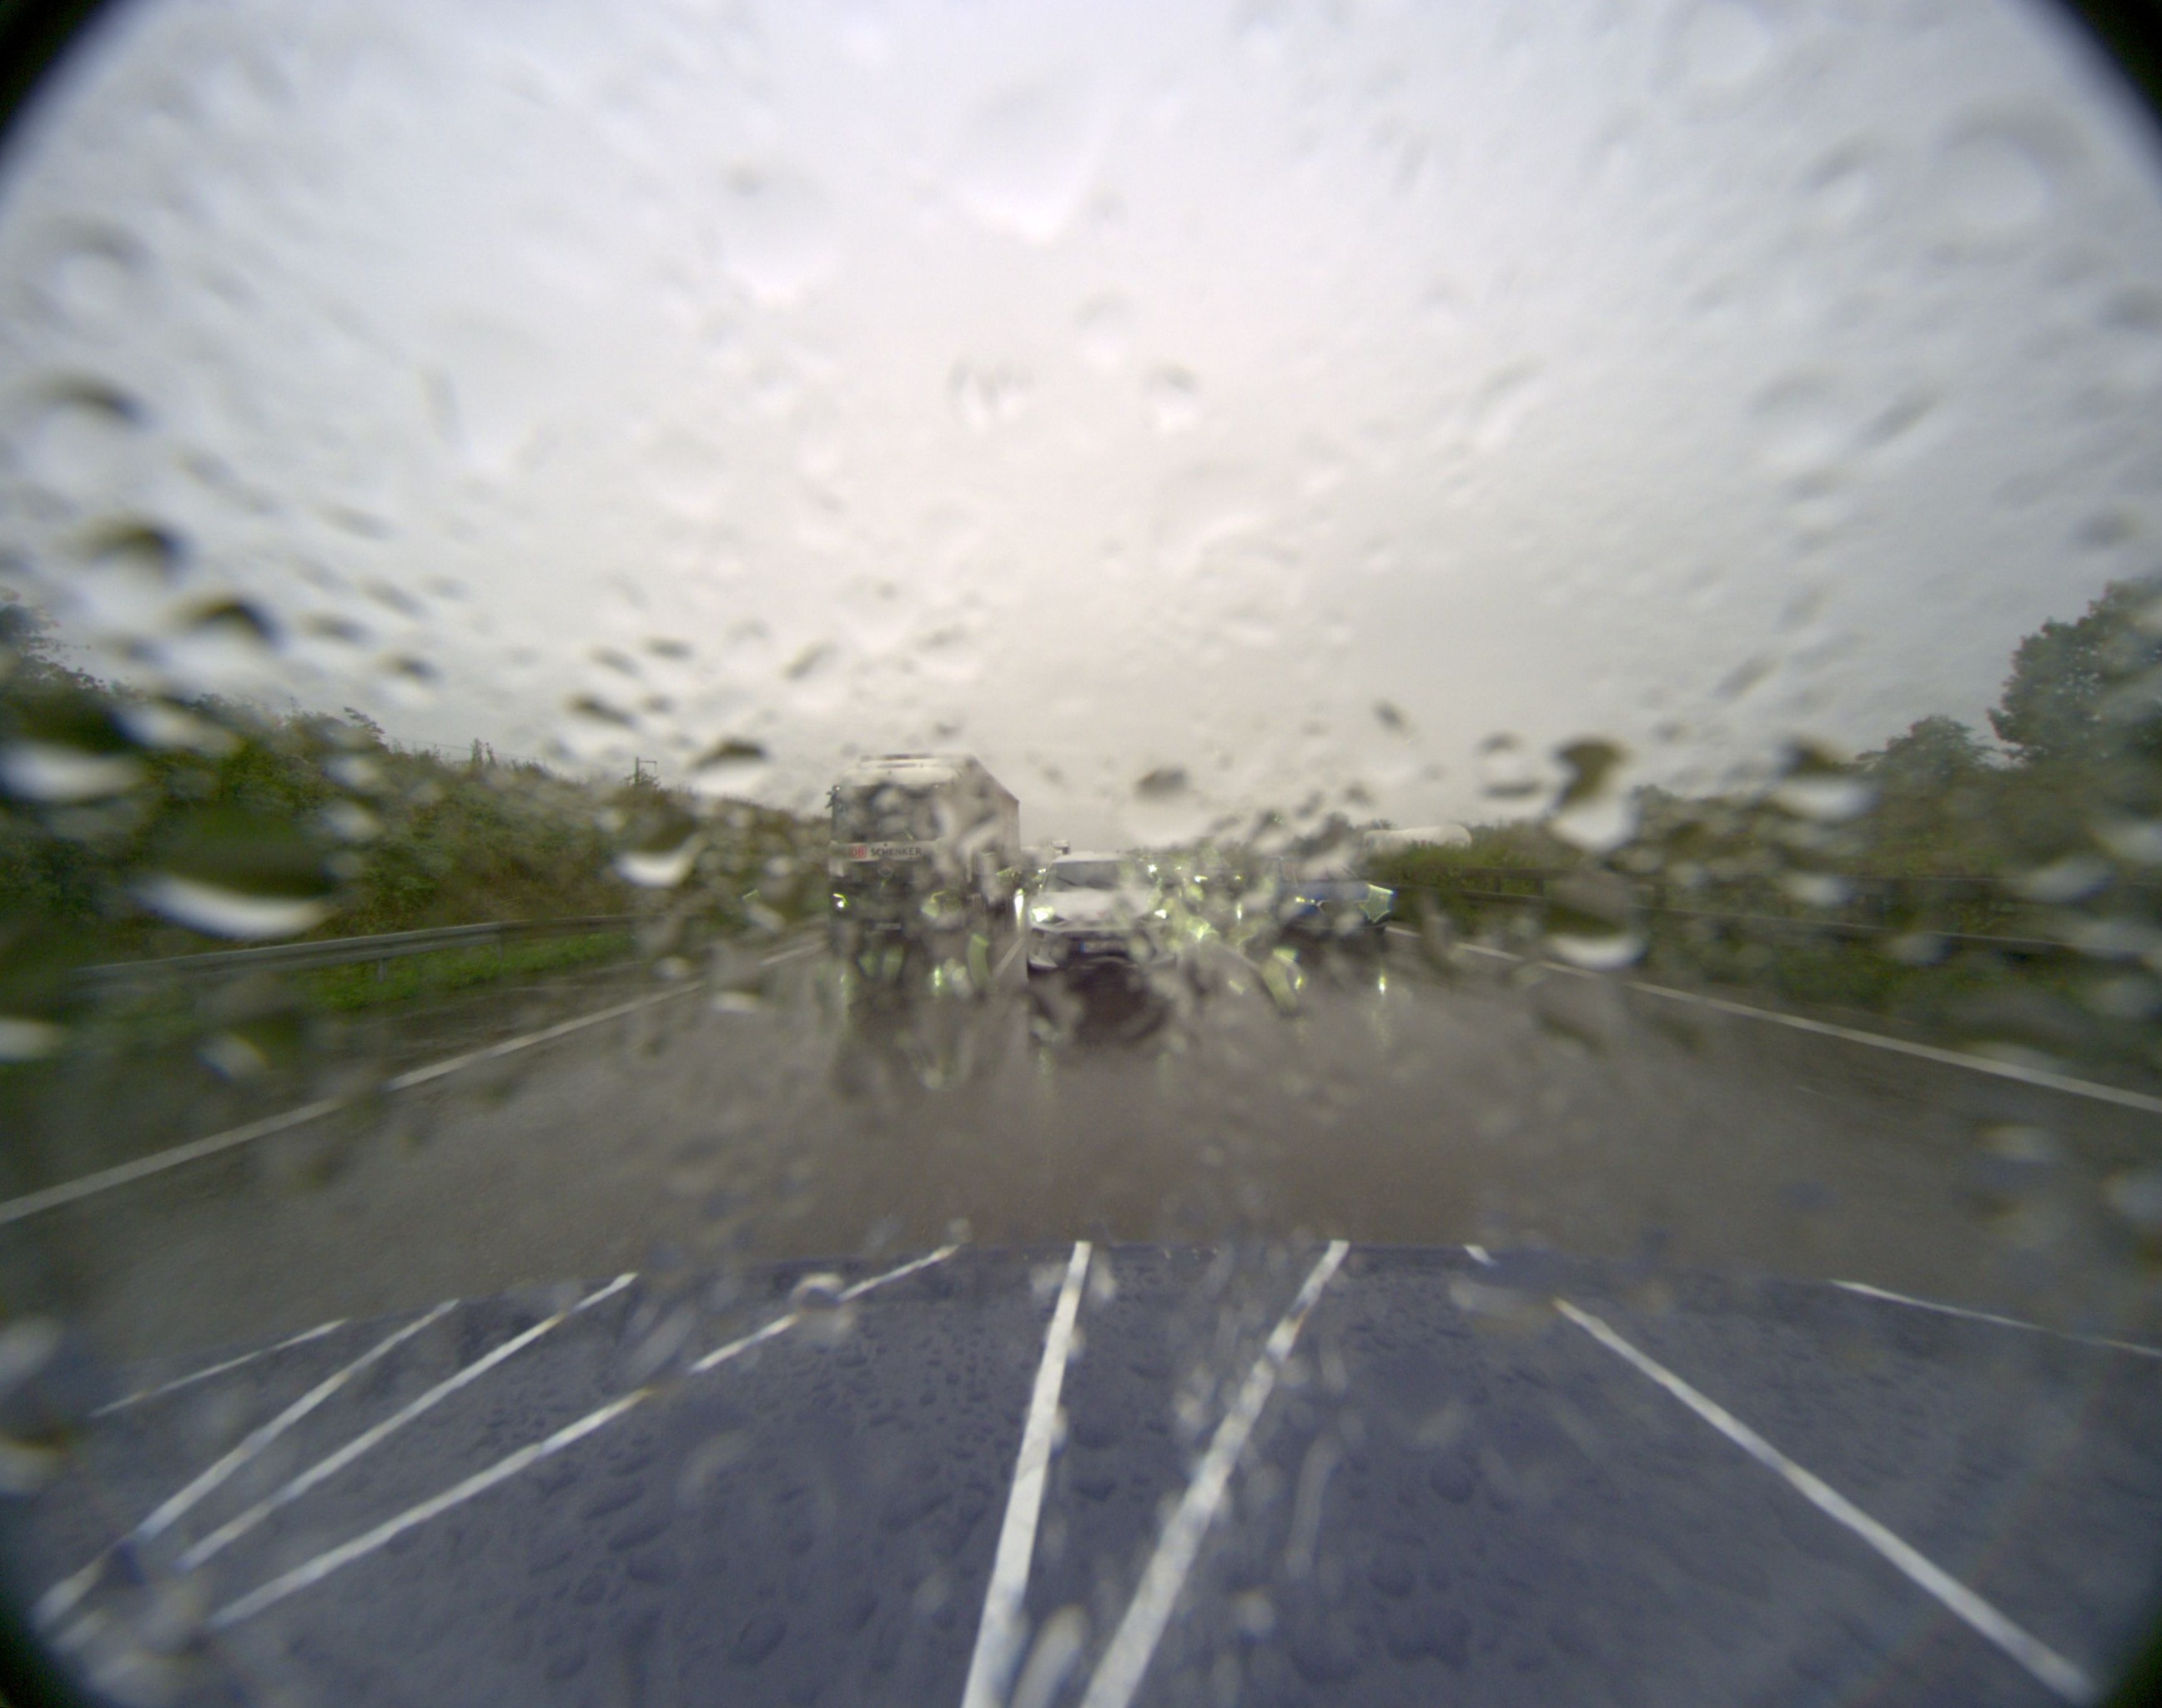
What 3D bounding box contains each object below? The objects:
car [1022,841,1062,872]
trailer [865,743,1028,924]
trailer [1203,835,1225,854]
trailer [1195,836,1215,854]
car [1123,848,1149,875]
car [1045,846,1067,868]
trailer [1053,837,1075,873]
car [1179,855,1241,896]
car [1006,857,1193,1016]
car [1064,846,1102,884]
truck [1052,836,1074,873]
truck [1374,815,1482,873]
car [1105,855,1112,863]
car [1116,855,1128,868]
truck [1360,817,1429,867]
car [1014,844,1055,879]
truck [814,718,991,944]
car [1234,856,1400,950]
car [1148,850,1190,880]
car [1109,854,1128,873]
[{"bbox_3d":[-2.622,0.145,52.708,2.260,2.002,4.269,-2,1,3],"label":"car"},{"bbox_3d":[-3.695,-0.543,25.152,2.633,4.224,14.174,-2,1,0],"label":"trailer"},{"bbox_3d":[21.981,-1.528,125.689,1.998,3.064,8.871,-2,0,0],"label":"trailer"},{"bbox_3d":[22.018,-1.578,134.926,1.998,3.064,9.554,-2,0,0],"label":"trailer"},{"bbox_3d":[4.248,0.550,59.477,1.888,2.002,4.270,-1,0,3],"label":"car"},{"bbox_3d":[-2.545,0.304,78.405,1.998,2.231,4.000,-2,0,0],"label":"car"},{"bbox_3d":[-2.246,0.181,103.708,2.628,4.635,9.221,-2,0,1],"label":"trailer"},{"bbox_3d":[4.865,0.765,29.130,1.613,1.428,4.370,-2,0,0],"label":"car"},{"bbox_3d":[0.204,0.868,9.885,1.893,1.578,4.000,-2,0,0],"label":"car"},{"bbox_3d":[0.139,0.606,43.102,1.998,2.002,4.000,-2,0,1],"label":"car"},{"bbox_3d":[-2.313,0.140,98.809,2.628,4.635,4.290,-2,0,1],"label":"truck"},{"bbox_3d":[21.624,-0.688,48.077,2.561,3.279,9.346,0,2,0],"label":"truck"},{"bbox_3d":[5.599,0.952,156.747,1.279,1.567,2.848,-2,0,0],"label":"car"},{"bbox_3d":[5.211,0.905,96.669,1.458,1.540,2.804,0,2,1],"label":"car"},{"bbox_3d":[21.642,-0.854,52.730,2.548,3.261,5.197,0,1,-1],"label":"truck"},{"bbox_3d":[-2.758,0.418,46.125,1.946,2.002,4.446,-2,1,2],"label":"car"},{"bbox_3d":[-3.716,-0.462,17.064,2.633,4.229,5.042,-2,1,0],"label":"truck"},{"bbox_3d":[4.302,0.804,14.625,1.791,1.467,4.512,-2,0,0],"label":"car"},{"bbox_3d":[4.986,0.593,43.731,1.889,1.622,4.269,-2,0,0],"label":"car"},{"bbox_3d":[3.959,0.992,81.012,1.737,2.002,4.223,-2,0,0],"label":"car"}]
